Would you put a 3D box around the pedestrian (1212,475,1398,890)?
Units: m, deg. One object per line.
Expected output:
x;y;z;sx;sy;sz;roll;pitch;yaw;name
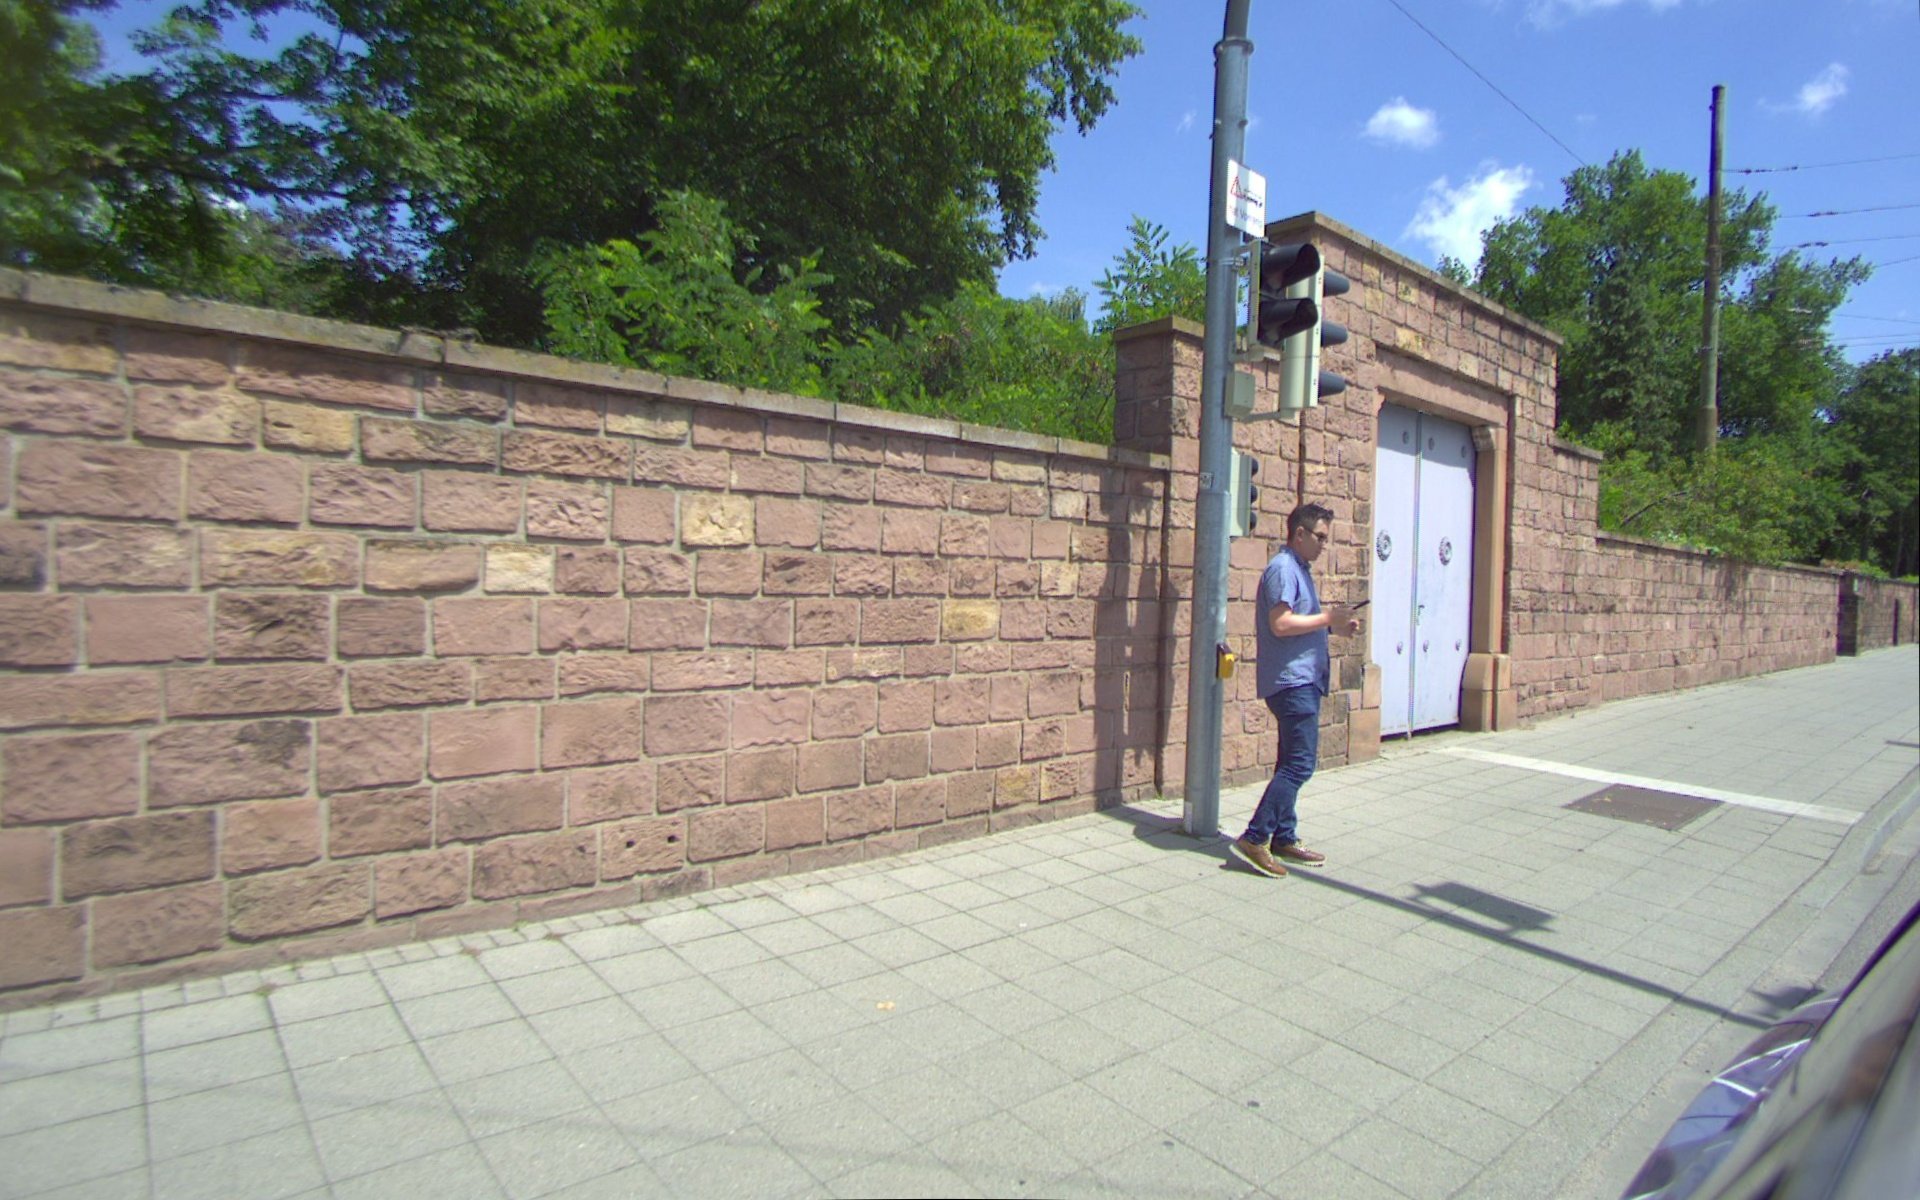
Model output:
1.701;0.356;5.029;0.758;1.875;0.713;2;1;20;pedestrian
